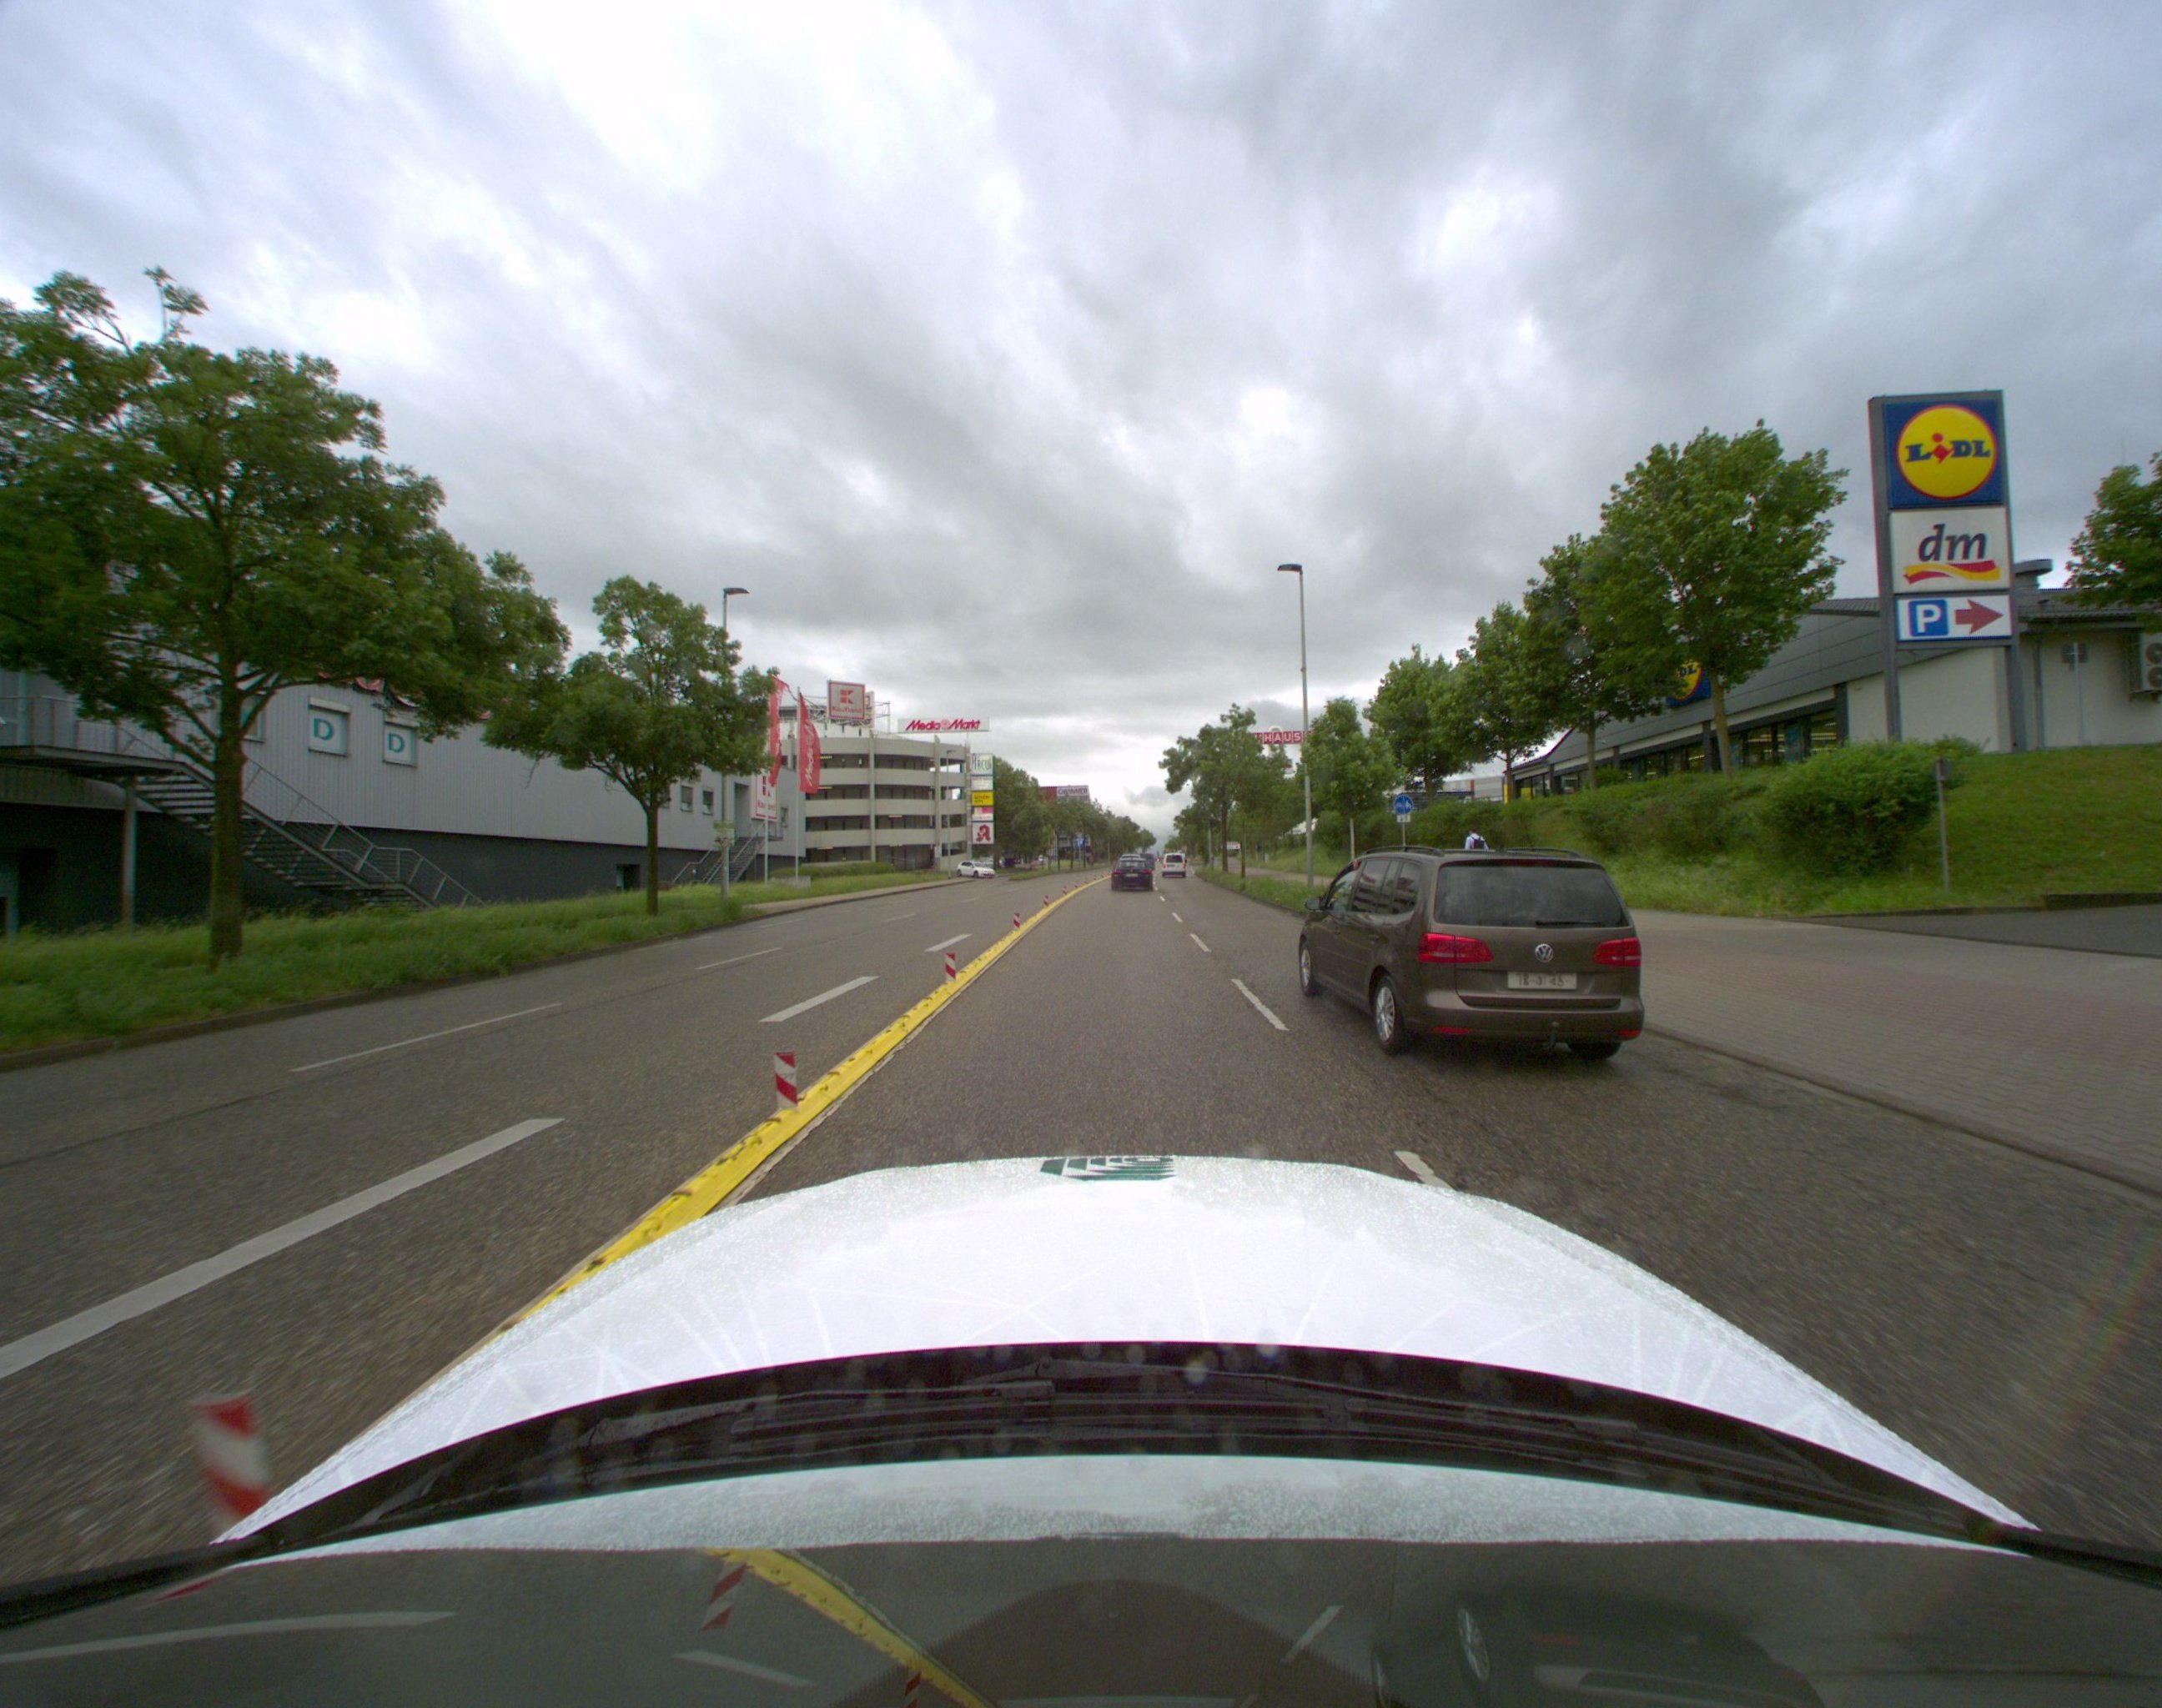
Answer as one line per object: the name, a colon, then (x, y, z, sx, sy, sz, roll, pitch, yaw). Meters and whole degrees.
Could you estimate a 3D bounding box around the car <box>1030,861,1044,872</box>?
car: (-7.241, 2.063, 135.067, 1.925, 1.608, 4.714, 0, 1, 2)

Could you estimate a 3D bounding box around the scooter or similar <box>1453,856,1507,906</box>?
scooter or similar: (10.671, 0.703, 21.829, 0.693, 1.264, 1.400, -3, -1, -1)

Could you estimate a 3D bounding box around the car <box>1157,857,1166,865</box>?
car: (16.740, 1.490, 170.028, 1.786, 1.510, 4.004, 1, -1, 4)

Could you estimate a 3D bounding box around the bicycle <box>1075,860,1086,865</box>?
bicycle: (-0.078, 1.717, 167.837, 2.063, 0.935, 1.097, 4, 0, 11)

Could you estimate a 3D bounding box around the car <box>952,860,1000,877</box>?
car: (-9.422, 1.319, 73.092, 4.368, 1.408, 1.917, -2, 0, 44)

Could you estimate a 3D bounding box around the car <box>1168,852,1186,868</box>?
car: (9.544, 0.628, 81.032, 1.785, 1.510, 4.007, 1, -1, 6)

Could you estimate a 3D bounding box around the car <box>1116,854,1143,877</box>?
car: (3.343, 0.820, 56.411, 1.786, 1.510, 4.003, 1, -1, 3)

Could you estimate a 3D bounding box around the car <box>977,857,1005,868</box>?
car: (-15.486, 1.439, 140.550, 4.585, 1.745, 1.966, 0, 1, -1)

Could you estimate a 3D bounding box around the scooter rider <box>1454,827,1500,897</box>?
scooter rider: (10.644, 0.218, 21.905, 0.693, 1.820, 0.858, -3, -1, -1)

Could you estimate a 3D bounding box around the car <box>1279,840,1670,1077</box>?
car: (3.173, 0.704, 7.620, 1.679, 1.581, 4.219, 1, 0, 1)

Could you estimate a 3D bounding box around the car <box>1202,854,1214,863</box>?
car: (24.362, 0.883, 156.386, 1.786, 1.510, 4.004, 1, -1, 4)

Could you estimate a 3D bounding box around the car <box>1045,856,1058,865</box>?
car: (-6.230, 1.258, 170.429, 2.128, 1.773, 4.615, 0, 1, 5)

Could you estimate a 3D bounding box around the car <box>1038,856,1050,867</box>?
car: (-7.062, 1.396, 155.293, 2.108, 2.096, 5.119, 0, 1, -2)

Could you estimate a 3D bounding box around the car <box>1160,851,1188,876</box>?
car: (6.956, 0.686, 61.257, 1.819, 1.759, 4.004, 1, 0, 3)

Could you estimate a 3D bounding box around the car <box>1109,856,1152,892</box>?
car: (2.263, 0.868, 36.965, 1.819, 1.468, 4.004, -1, 0, 3)

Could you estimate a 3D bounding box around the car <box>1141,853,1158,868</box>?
car: (7.395, 0.728, 88.265, 1.786, 1.510, 4.004, 1, -1, 4)

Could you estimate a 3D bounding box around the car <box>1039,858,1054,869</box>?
car: (-6.304, 1.695, 149.489, 2.030, 1.762, 4.952, 0, 1, 4)
